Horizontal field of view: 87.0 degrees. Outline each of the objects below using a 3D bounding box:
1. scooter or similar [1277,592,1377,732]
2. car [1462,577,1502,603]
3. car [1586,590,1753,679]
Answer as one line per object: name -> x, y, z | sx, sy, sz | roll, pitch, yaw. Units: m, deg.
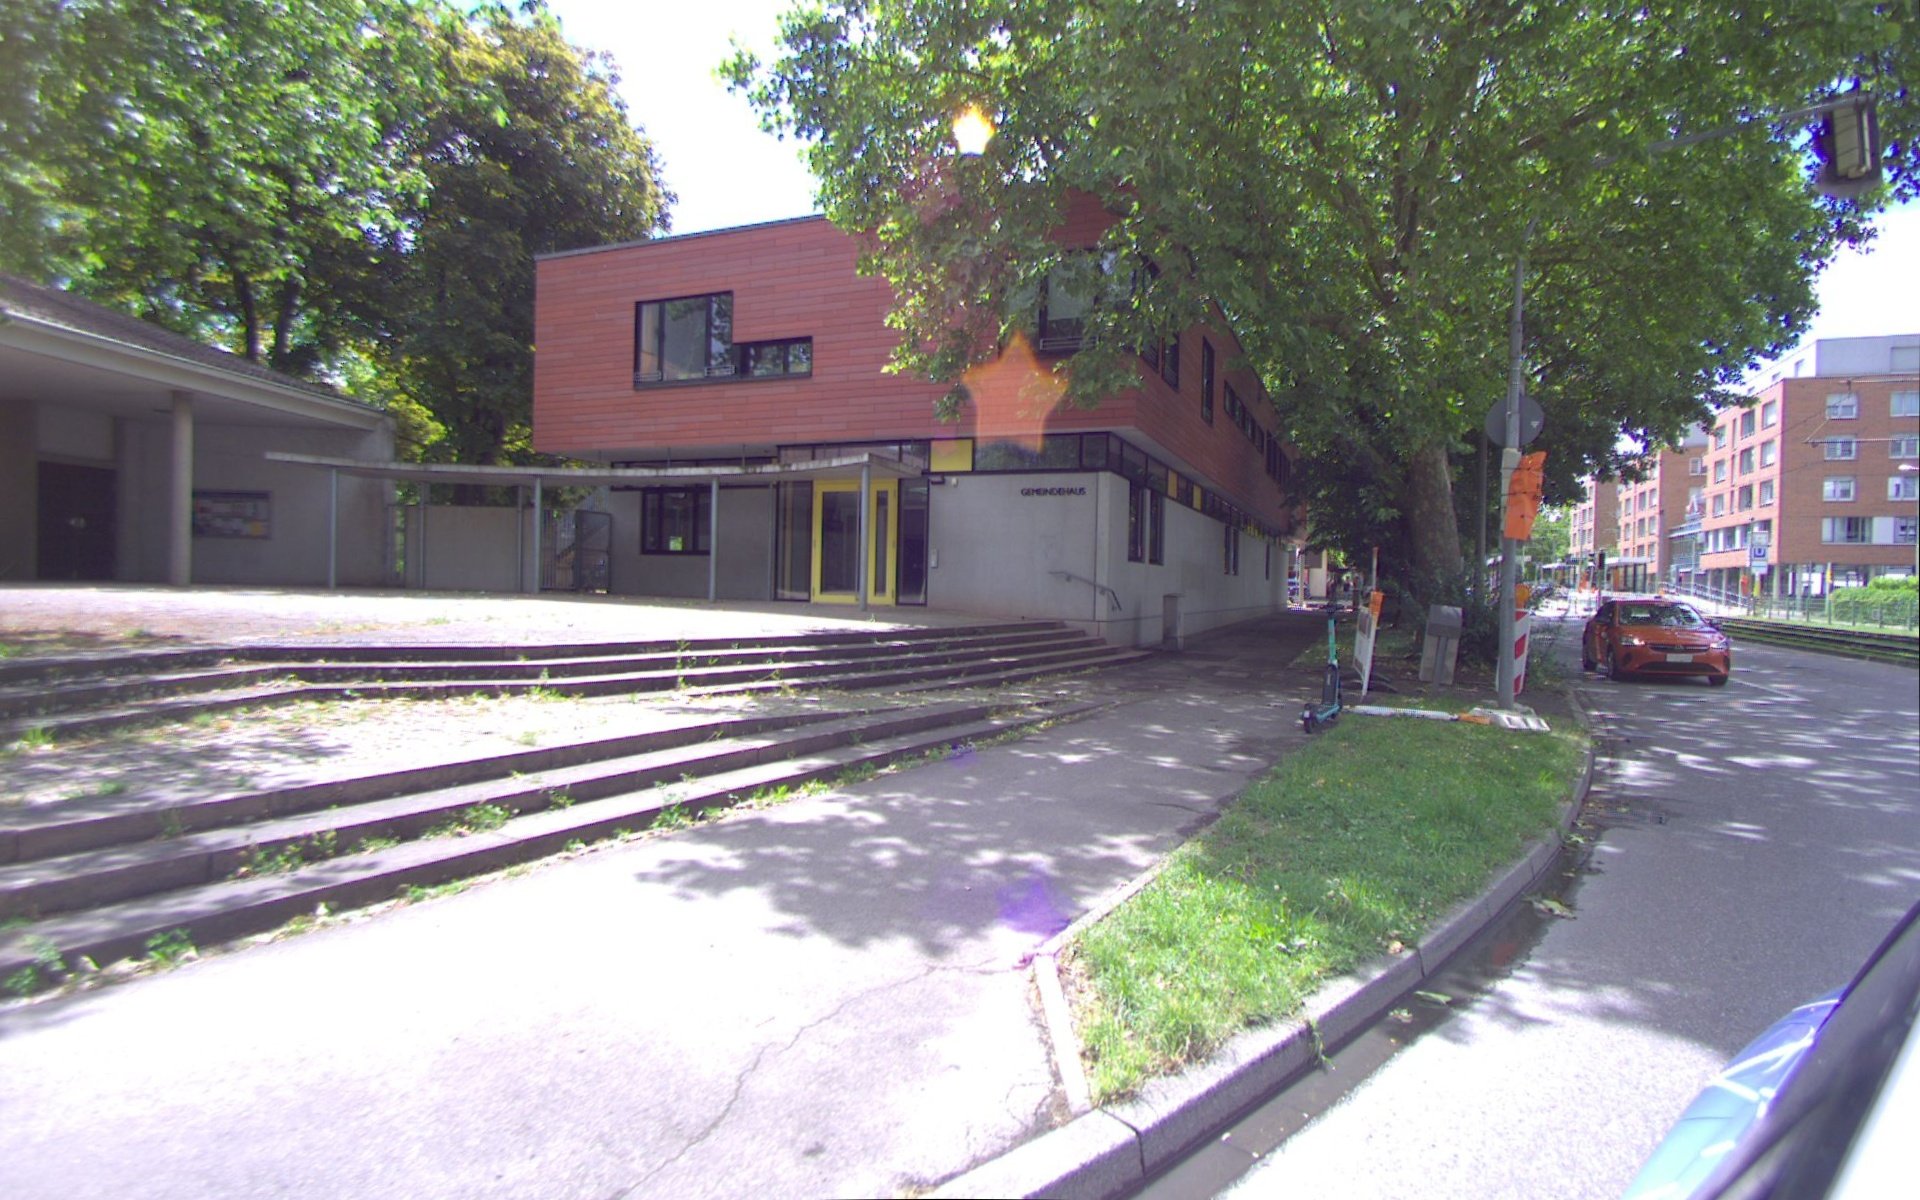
scooter or similar -> 3.565, 0.561, 9.789 | 0.563, 1.247, 1.178 | 2, 1, 37
car -> 29.631, -0.585, 57.531 | 1.751, 1.431, 4.203 | 0, 1, 24
car -> 12.885, 0.564, 18.628 | 1.751, 1.452, 3.808 | 0, 0, 23
